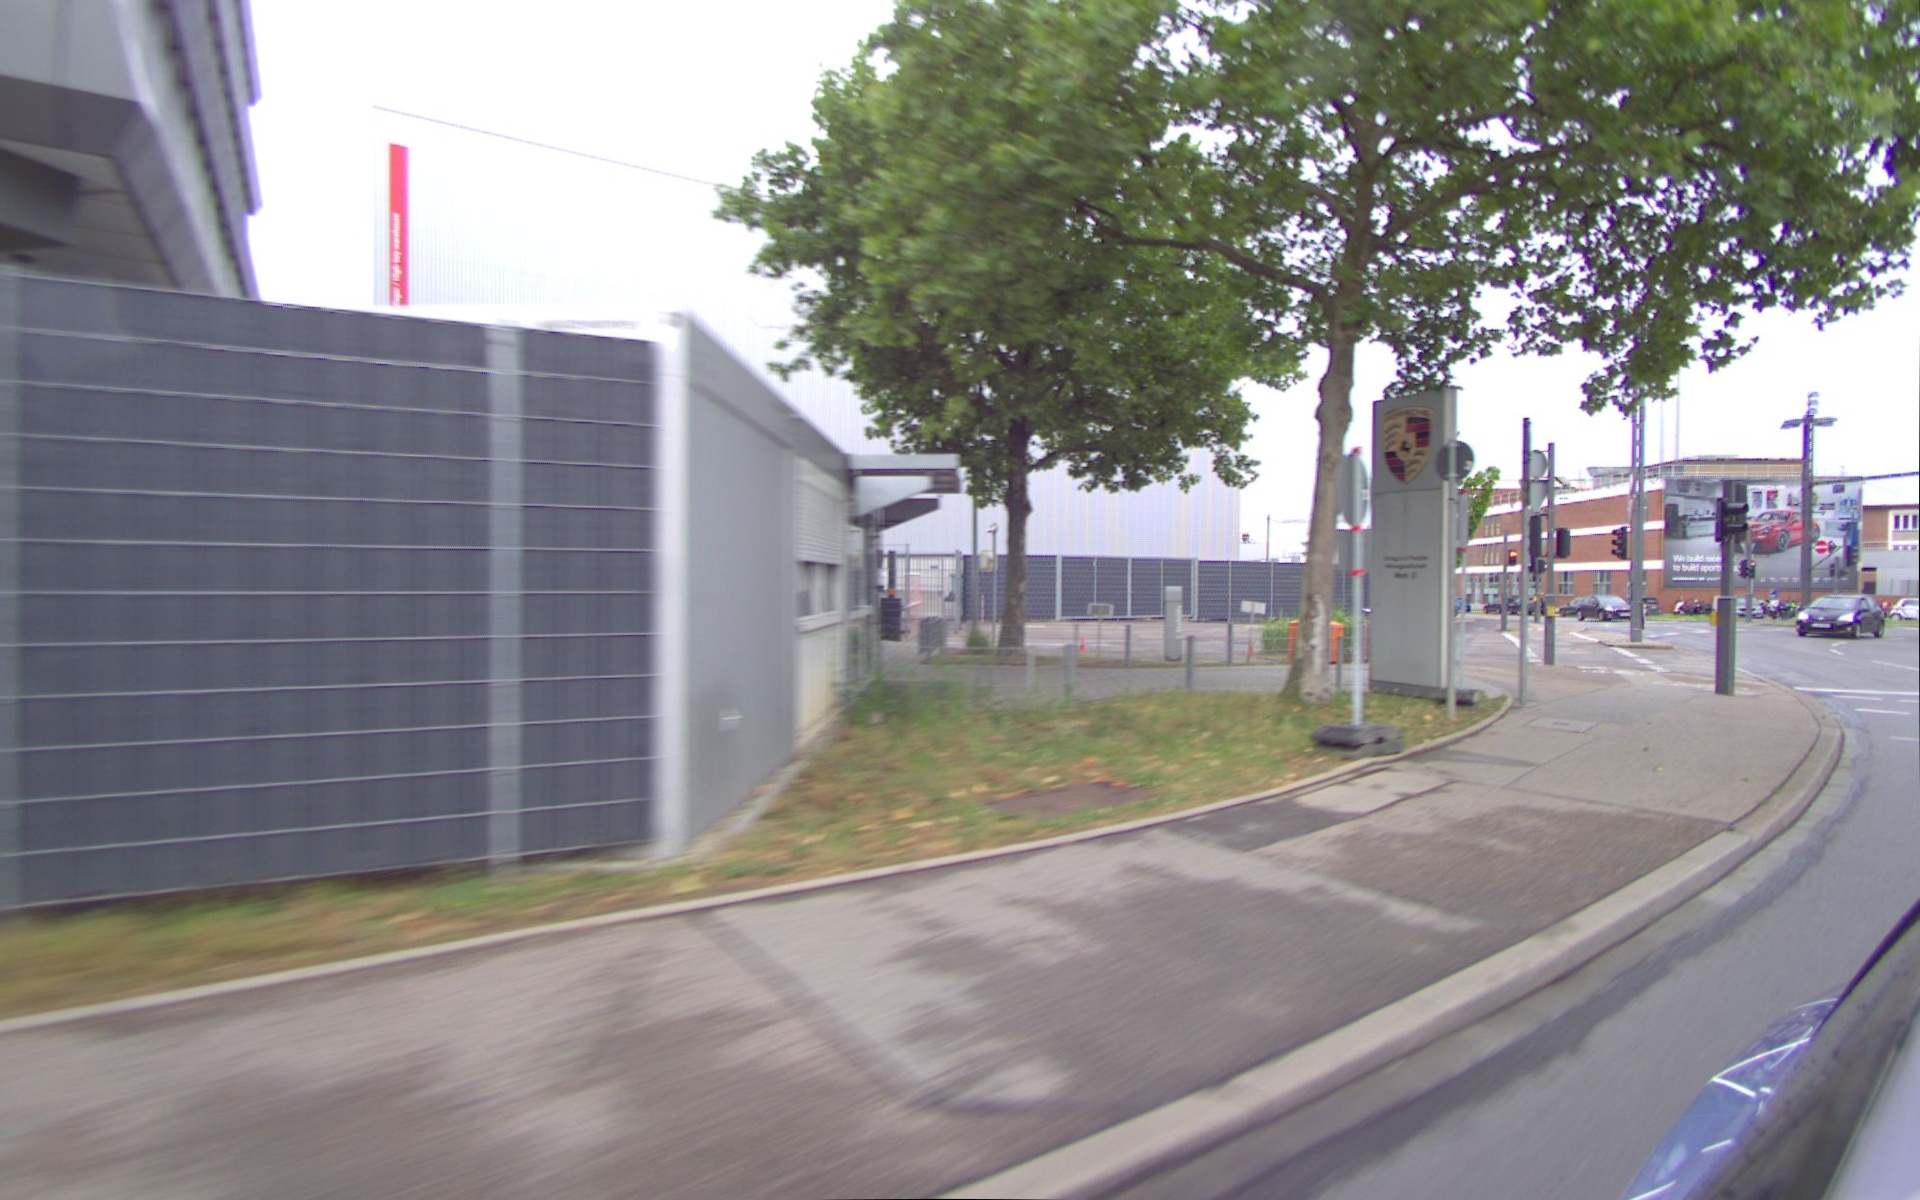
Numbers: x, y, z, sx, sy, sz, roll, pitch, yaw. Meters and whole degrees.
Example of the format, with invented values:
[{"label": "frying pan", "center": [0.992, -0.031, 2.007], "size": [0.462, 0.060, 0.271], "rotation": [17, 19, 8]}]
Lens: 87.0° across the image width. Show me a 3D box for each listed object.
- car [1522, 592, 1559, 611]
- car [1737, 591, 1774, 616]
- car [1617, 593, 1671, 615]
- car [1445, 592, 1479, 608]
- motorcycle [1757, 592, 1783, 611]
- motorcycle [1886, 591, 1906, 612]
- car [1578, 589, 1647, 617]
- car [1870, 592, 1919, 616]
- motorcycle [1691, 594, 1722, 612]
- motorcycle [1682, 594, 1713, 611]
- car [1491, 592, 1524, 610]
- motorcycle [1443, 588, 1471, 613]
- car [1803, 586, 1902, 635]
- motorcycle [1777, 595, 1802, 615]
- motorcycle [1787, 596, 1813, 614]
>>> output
[{"label": "car", "center": [48.419, 0.093, 84.421], "size": [1.435, 1.461, 3.458], "rotation": [-3, 1, 8]}, {"label": "car", "center": [50.683, 0.187, 64.531], "size": [1.614, 1.522, 3.208], "rotation": [0, 1, 34]}, {"label": "car", "center": [47.286, 0.275, 69.997], "size": [1.521, 1.512, 2.757], "rotation": [1, 0, -15]}, {"label": "car", "center": [49.600, -0.021, 100.008], "size": [1.665, 1.461, 3.388], "rotation": [-3, 1, 1]}, {"label": "motorcycle", "center": [54.843, 0.094, 68.541], "size": [0.535, 1.195, 1.709], "rotation": [-3, 1, 9]}, {"label": "motorcycle", "center": [64.292, 0.119, 69.531], "size": [1.637, 1.350, 0.524], "rotation": [-3, 0, -31]}, {"label": "car", "center": [36.174, 0.147, 56.237], "size": [1.692, 1.443, 3.990], "rotation": [-1, 0, 9]}, {"label": "car", "center": [61.246, 0.223, 64.931], "size": [1.535, 1.508, 4.008], "rotation": [-1, 0, -22]}, {"label": "motorcycle", "center": [51.671, 0.200, 70.038], "size": [1.578, 1.134, 0.542], "rotation": [-2, 0, 14]}, {"label": "motorcycle", "center": [51.717, 0.173, 70.958], "size": [1.623, 1.125, 0.542], "rotation": [-2, 0, 14]}, {"label": "car", "center": [48.517, 0.071, 89.692], "size": [1.435, 1.461, 3.382], "rotation": [-3, 1, 8]}, {"label": "motorcycle", "center": [26.889, 0.051, 54.756], "size": [0.644, 1.327, 2.098], "rotation": [0, 0, 5]}, {"label": "car", "center": [31.663, 0.335, 35.893], "size": [3.935, 1.526, 1.695], "rotation": [-3, 1, -34]}, {"label": "motorcycle", "center": [52.188, 0.294, 63.676], "size": [0.488, 1.160, 1.716], "rotation": [-2, 1, 14]}, {"label": "motorcycle", "center": [56.571, 0.317, 68.193], "size": [0.469, 1.133, 1.804], "rotation": [-2, 1, 11]}]
